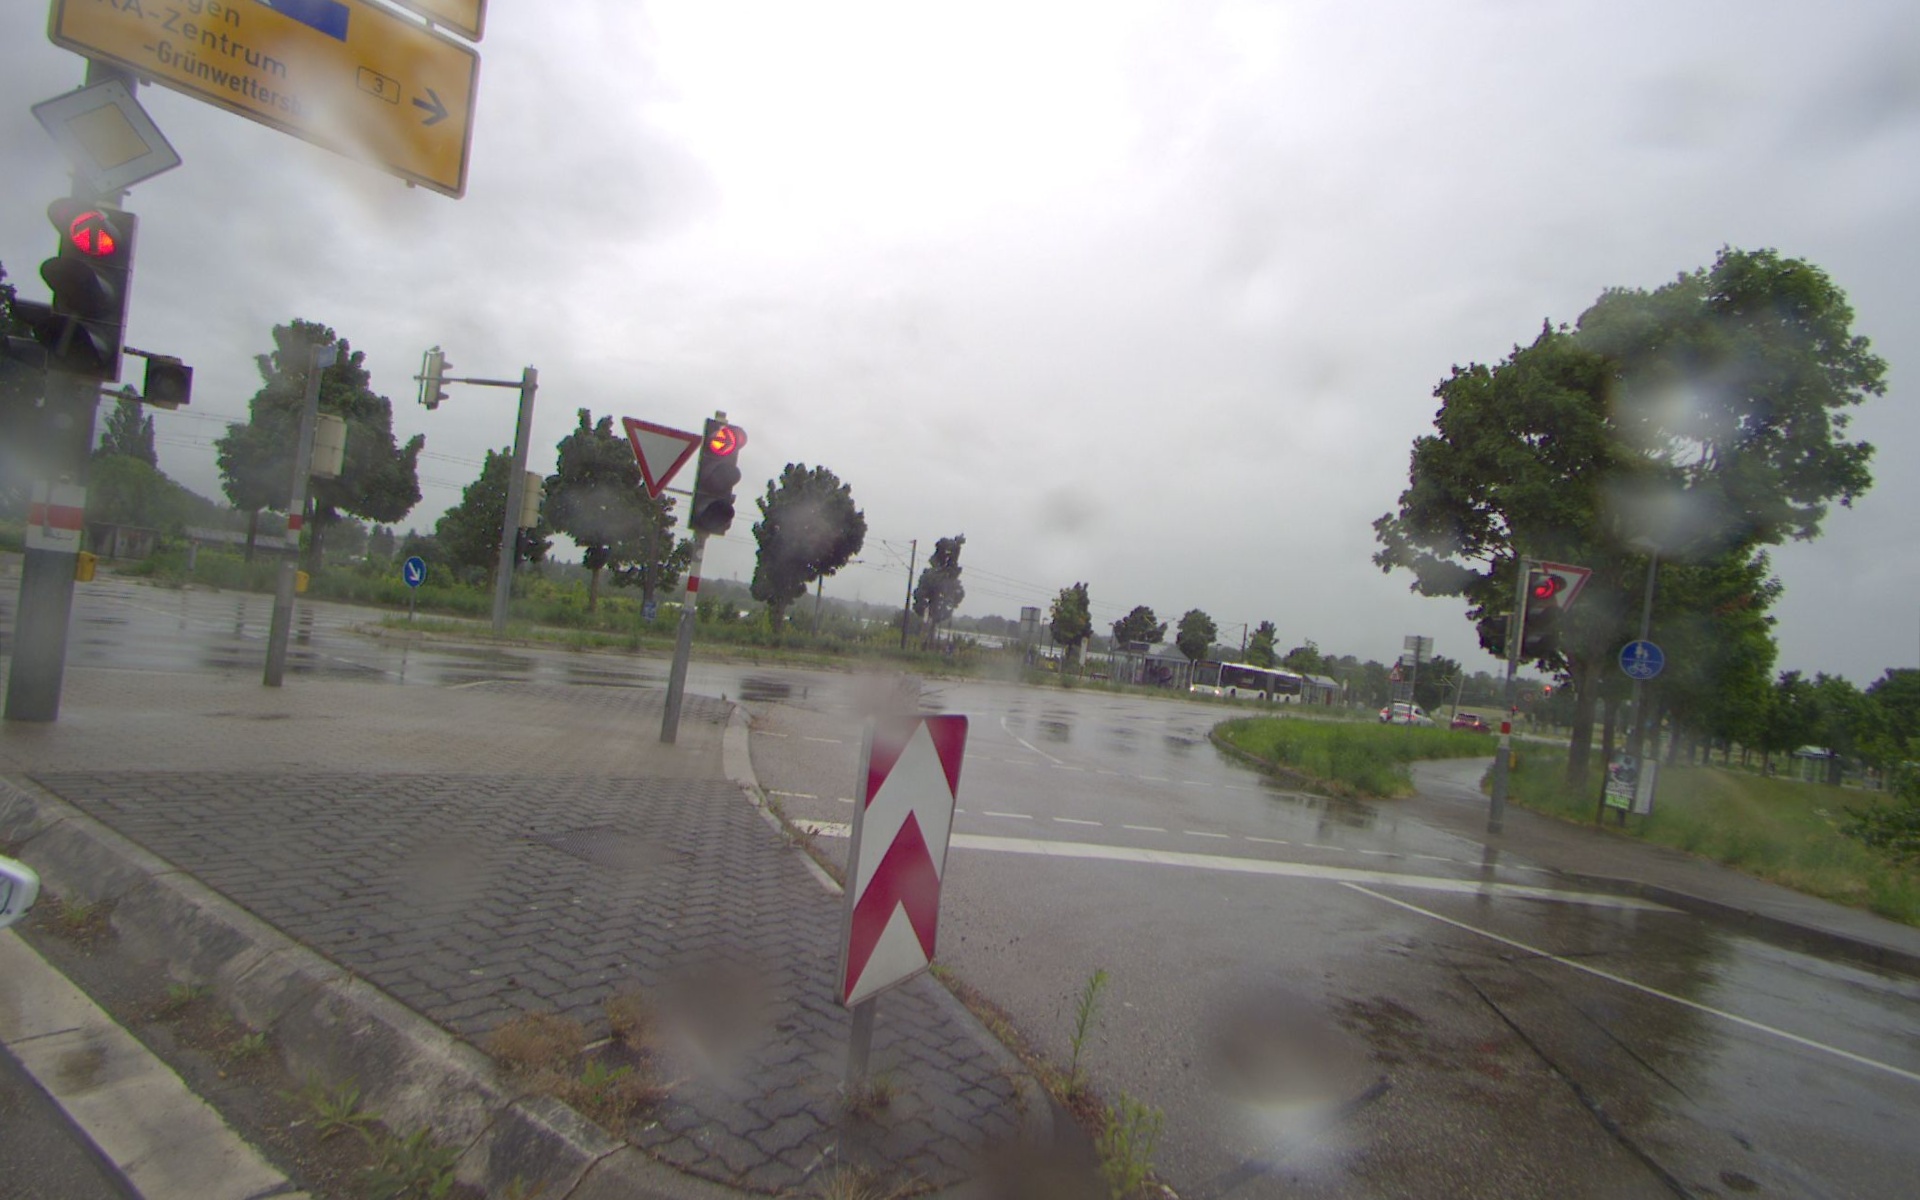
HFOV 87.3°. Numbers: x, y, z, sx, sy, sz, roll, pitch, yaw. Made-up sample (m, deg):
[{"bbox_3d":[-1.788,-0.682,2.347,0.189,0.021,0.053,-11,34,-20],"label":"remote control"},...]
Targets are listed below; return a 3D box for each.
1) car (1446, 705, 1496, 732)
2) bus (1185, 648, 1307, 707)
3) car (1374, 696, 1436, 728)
[{"bbox_3d":[32.206,7.485,63.384,1.853,1.370,4.036,6,-2,40],"label":"car"},{"bbox_3d":[24.295,6.692,84.154,2.715,3.828,18.379,7,-2,38],"label":"bus"},{"bbox_3d":[23.311,5.881,52.623,1.853,1.370,4.036,6,-2,40],"label":"car"}]
